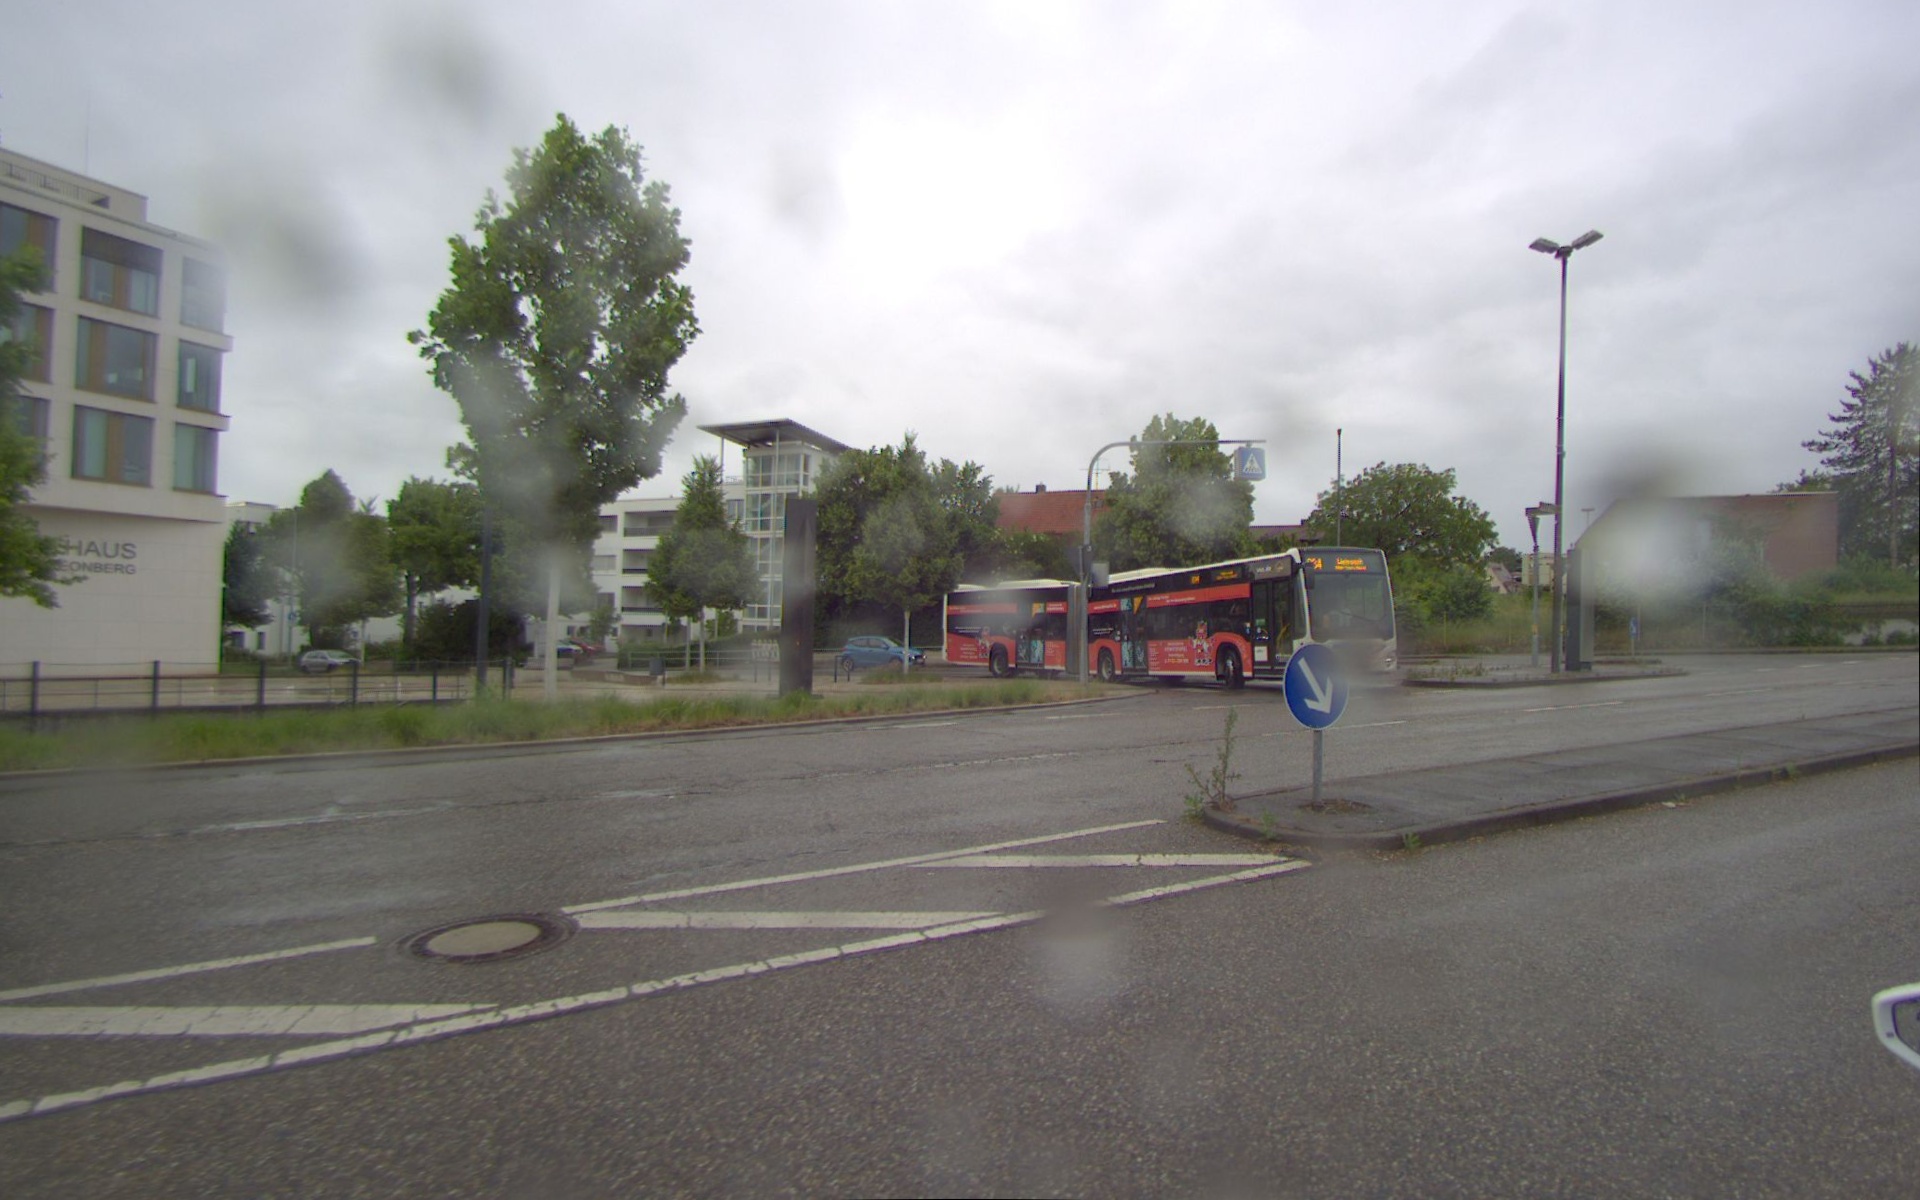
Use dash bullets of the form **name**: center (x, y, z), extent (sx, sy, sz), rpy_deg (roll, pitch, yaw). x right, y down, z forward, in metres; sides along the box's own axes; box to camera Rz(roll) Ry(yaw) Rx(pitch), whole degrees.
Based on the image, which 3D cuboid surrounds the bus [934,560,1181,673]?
- **bus**: center (2.823, 0.567, 32.894), extent (2.758, 3.155, 9.278), rpy_deg (1, -2, -34)

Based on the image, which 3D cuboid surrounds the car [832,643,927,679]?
- **car**: center (-3.443, 2.601, 43.000), extent (3.678, 1.437, 1.766), rpy_deg (-1, -1, 24)

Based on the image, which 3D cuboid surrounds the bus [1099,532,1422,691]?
- **bus**: center (6.763, 0.344, 24.531), extent (2.759, 3.155, 8.841), rpy_deg (1, -1, -21)

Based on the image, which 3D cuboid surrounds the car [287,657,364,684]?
- **car**: center (-36.594, 4.049, 57.950), extent (3.920, 1.486, 1.587), rpy_deg (0, -2, 17)
